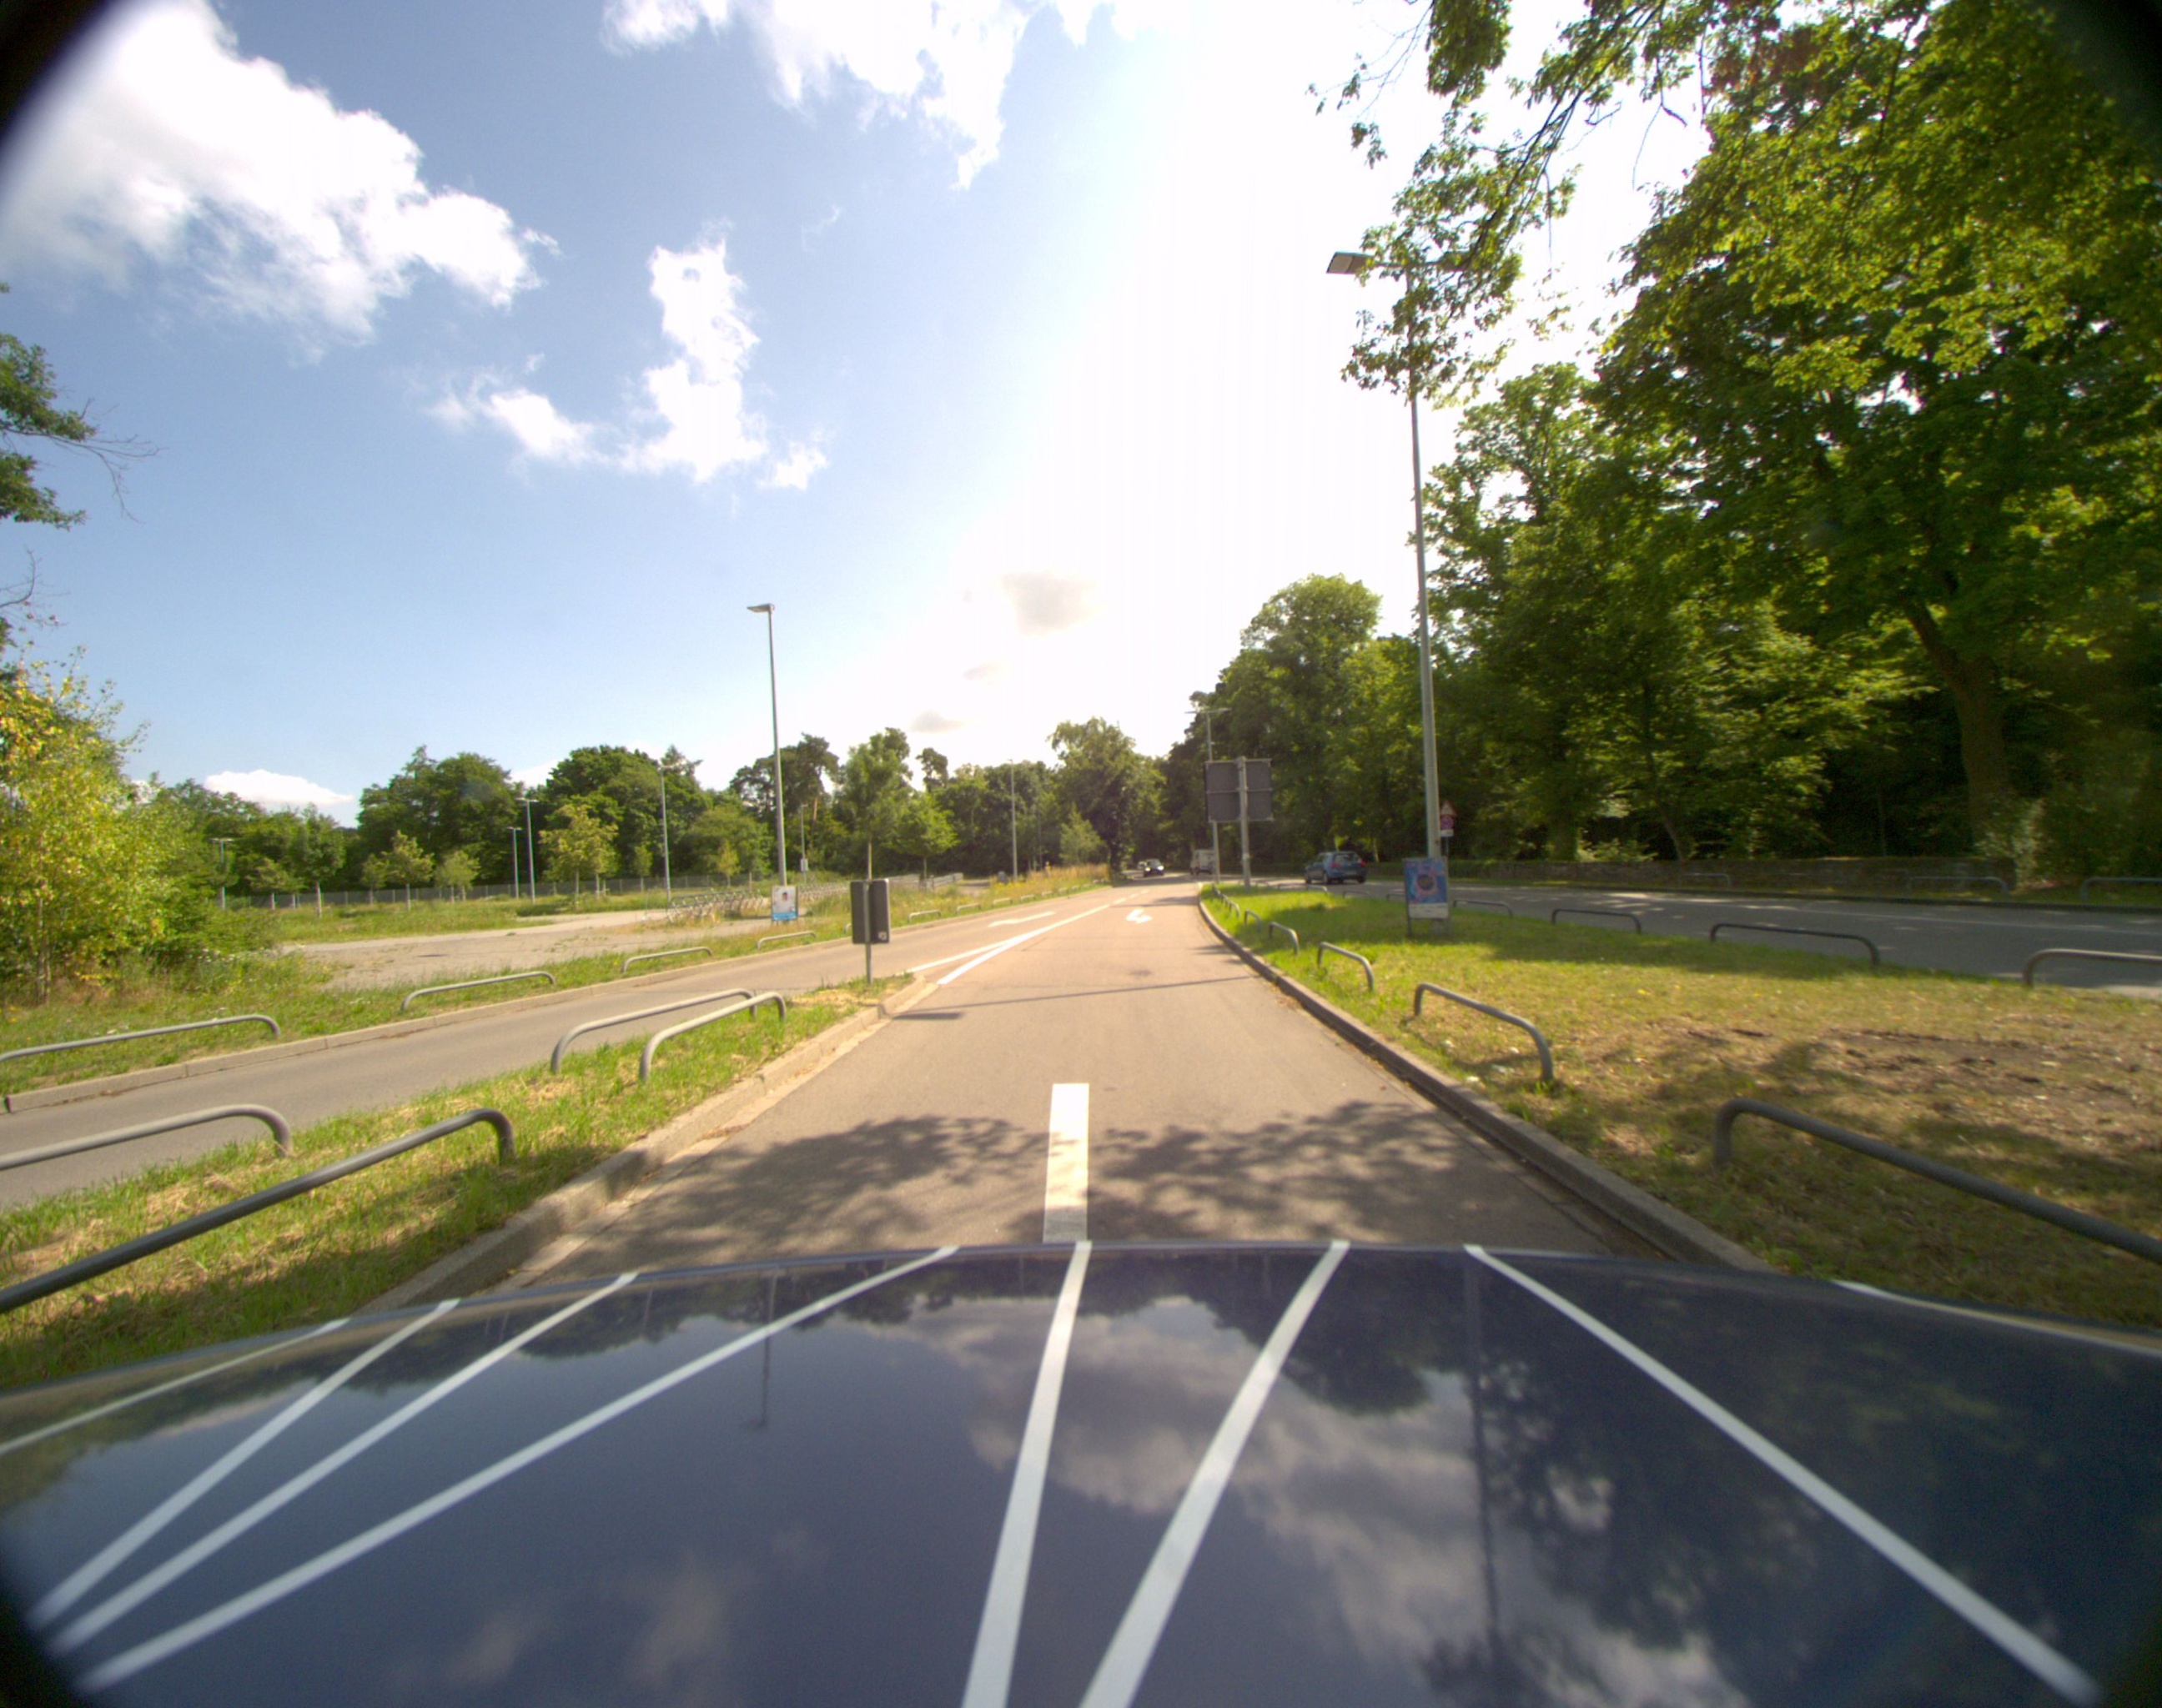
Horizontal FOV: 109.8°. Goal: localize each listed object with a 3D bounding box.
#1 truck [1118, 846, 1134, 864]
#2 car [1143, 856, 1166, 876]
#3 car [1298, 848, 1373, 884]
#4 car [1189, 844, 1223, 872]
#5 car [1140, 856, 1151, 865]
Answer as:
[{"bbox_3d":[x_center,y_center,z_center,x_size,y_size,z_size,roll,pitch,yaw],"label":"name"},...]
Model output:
[{"bbox_3d":[9.641,0.119,163.457,2.914,3.609,7.004,-2,1,1],"label":"truck"},{"bbox_3d":[7.510,1.190,77.718,1.980,1.754,4.707,-3,1,2],"label":"car"},{"bbox_3d":[11.496,0.521,34.639,1.699,1.438,4.065,-4,1,-5],"label":"car"},{"bbox_3d":[11.663,0.309,71.452,1.980,2.417,5.361,-4,1,-2],"label":"car"},{"bbox_3d":[11.308,1.193,132.878,1.655,1.461,3.871,-2,1,3],"label":"car"}]
